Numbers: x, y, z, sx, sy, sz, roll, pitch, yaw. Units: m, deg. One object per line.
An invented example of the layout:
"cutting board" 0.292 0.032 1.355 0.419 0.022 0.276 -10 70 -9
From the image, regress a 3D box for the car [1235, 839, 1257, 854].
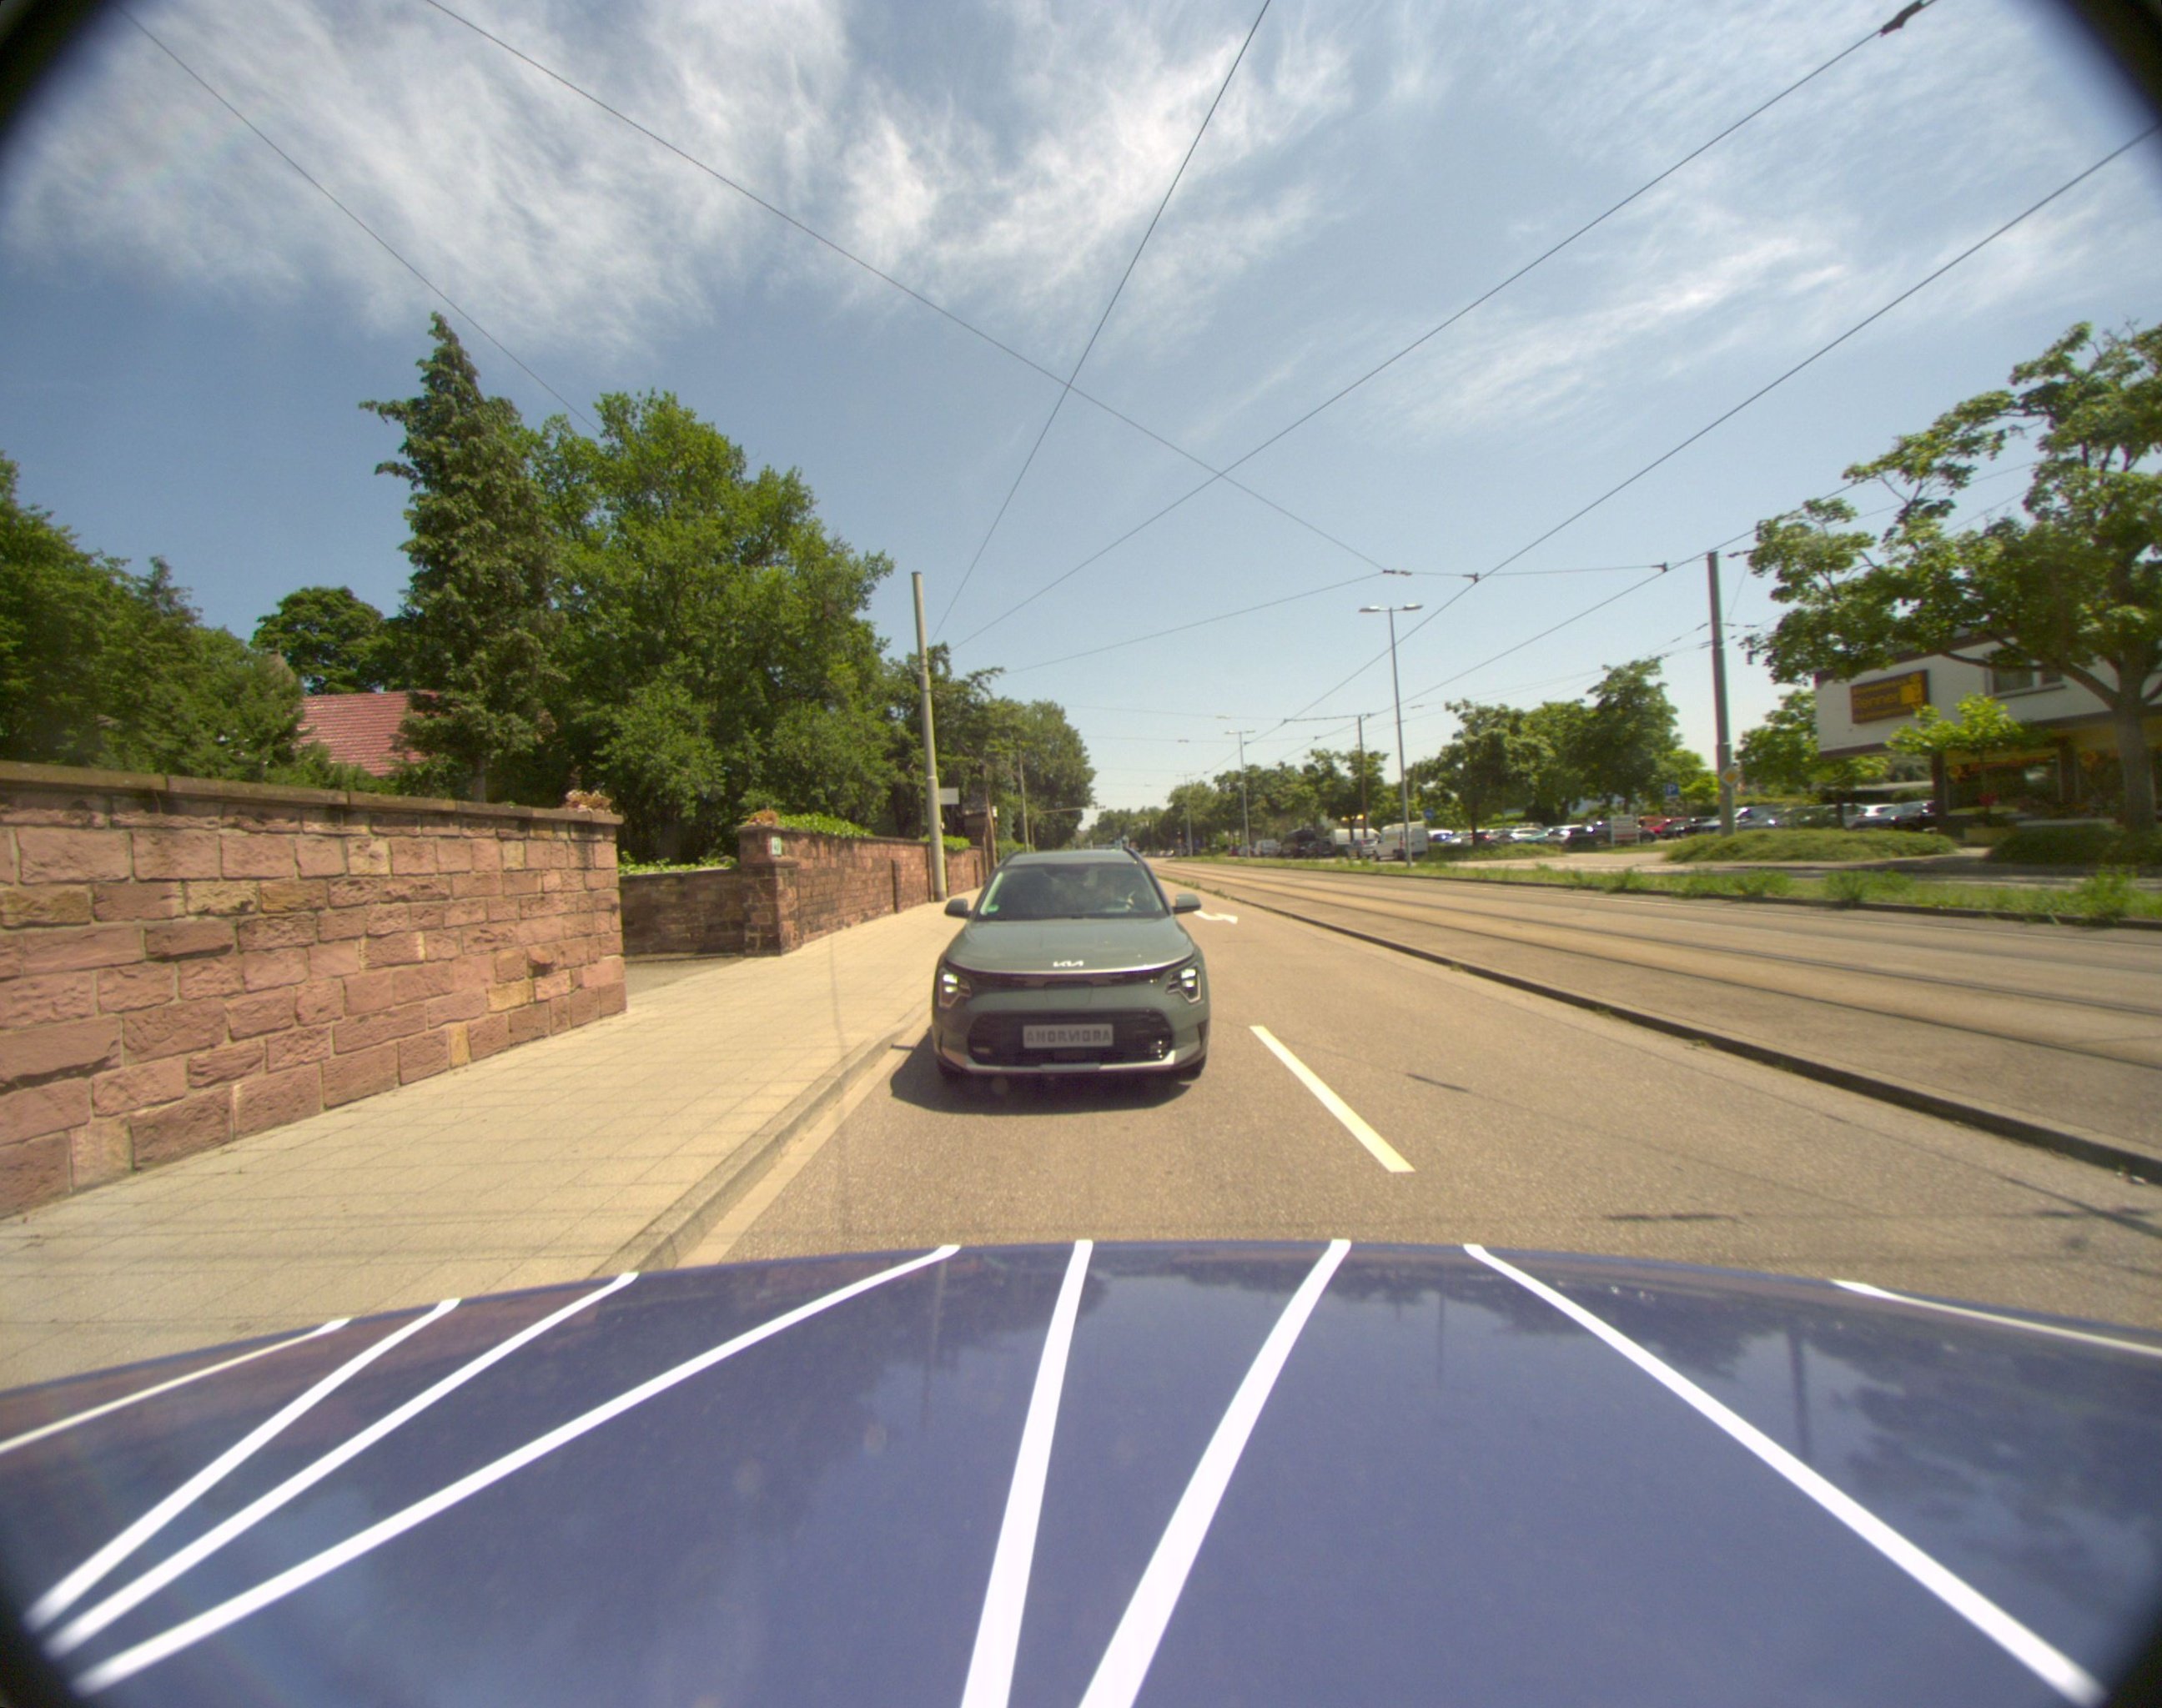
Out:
"car" 20.496 -0.920 94.602 1.681 1.783 4.202 -3 0 0

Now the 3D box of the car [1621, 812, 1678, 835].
"car" 44.714 -2.396 59.805 3.355 1.552 1.506 -4 1 -2

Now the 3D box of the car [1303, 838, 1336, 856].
"car" 20.136 -0.605 64.204 1.675 1.378 3.669 -3 0 2

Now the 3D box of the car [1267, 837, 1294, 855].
"car" 20.619 -0.798 78.766 1.681 1.783 3.868 -4 0 0

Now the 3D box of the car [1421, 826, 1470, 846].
"car" 31.423 -1.528 65.538 3.414 1.497 1.603 -4 1 -5

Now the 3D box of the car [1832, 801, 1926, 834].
"car" 43.713 -1.961 41.682 3.492 1.528 1.624 -4 1 -2

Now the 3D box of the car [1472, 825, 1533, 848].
"car" 30.161 -1.230 54.413 3.414 1.386 1.603 -4 1 -5

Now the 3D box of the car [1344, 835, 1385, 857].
"car" 20.188 -0.559 54.232 1.675 1.378 3.569 -3 0 2

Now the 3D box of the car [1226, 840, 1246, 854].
"car" 20.636 -0.957 101.358 1.681 1.693 3.823 -4 0 0

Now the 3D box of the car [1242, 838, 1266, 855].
"car" 20.502 -0.885 90.116 1.681 1.783 4.202 -4 0 0

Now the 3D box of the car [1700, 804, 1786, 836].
"car" 43.091 -2.190 49.520 3.998 1.774 1.813 -4 1 -2

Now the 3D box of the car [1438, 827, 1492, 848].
"car" 30.321 -1.299 60.043 3.414 1.386 1.603 -4 1 -5

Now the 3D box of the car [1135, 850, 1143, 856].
"car" 16.300 -0.244 212.833 1.737 1.469 4.000 -4 0 0

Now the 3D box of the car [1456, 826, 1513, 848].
"car" 30.577 -1.282 57.636 3.414 1.386 1.603 -4 1 -5

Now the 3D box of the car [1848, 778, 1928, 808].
"car" 63.348 -4.786 59.702 3.996 2.002 2.000 -3 1 2

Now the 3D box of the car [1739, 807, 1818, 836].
"car" 43.270 -1.991 47.172 3.492 1.528 1.534 -4 1 -2

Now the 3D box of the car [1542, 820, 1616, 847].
"car" 30.977 -1.265 47.302 3.414 1.482 1.793 -4 0 -5

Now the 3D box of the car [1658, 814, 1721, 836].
"car" 43.832 -2.075 54.764 3.355 1.381 1.506 -4 1 -2

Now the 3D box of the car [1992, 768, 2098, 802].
"car" 61.224 -4.358 48.319 3.996 1.761 2.000 -3 1 2

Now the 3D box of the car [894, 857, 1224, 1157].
"car" -0.094 0.873 6.356 1.789 1.561 4.184 -2 1 1

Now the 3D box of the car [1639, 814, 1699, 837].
"car" 44.274 -2.128 57.226 3.355 1.450 1.506 -4 1 -2

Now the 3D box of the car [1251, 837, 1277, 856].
"car" 20.266 -0.846 84.151 1.681 1.963 4.509 -4 0 0

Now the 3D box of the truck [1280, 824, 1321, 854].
"truck" 20.249 -1.324 70.305 2.225 2.526 4.929 -3 0 1

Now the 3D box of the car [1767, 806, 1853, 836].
"car" 42.673 -1.924 44.516 3.492 1.528 1.624 -4 1 -2

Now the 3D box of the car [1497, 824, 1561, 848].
"car" 30.729 -1.227 52.153 3.414 1.386 1.603 -4 1 -5

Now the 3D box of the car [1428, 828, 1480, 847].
"car" 30.851 -1.351 62.876 3.414 1.386 1.603 -4 1 -5

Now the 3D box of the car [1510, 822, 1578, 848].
"car" 30.230 -1.232 49.661 3.414 1.482 1.598 -4 1 -5

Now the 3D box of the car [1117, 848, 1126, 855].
"car" 10.803 -0.734 201.487 1.998 1.652 4.000 -3 0 0

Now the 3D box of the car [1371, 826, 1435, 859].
"car" 20.206 -0.712 47.848 1.998 1.872 4.661 -3 0 1
